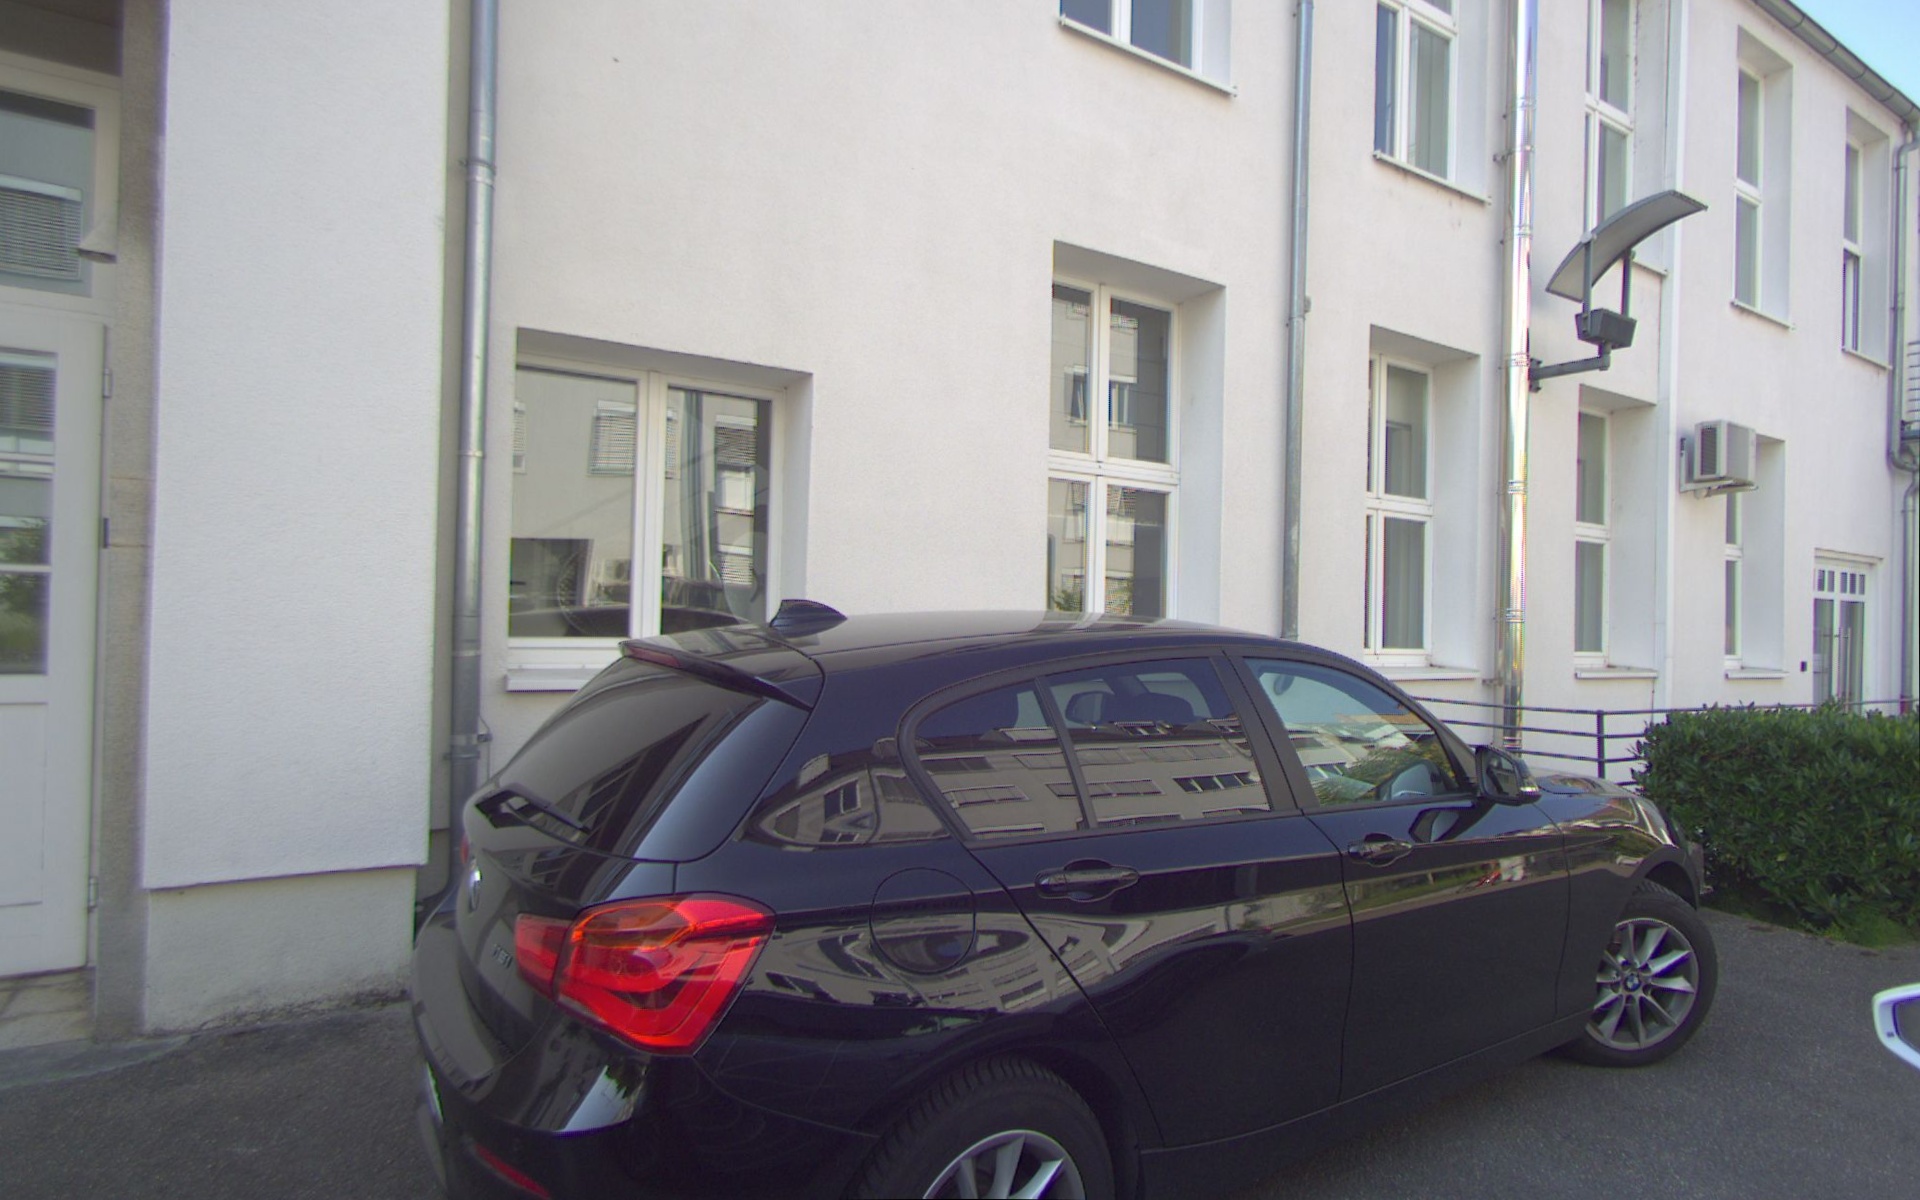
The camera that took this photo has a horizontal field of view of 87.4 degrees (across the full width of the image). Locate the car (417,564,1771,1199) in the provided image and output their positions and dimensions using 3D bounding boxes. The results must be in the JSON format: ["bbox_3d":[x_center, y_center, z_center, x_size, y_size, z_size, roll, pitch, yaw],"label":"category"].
[{"bbox_3d":[0.694,0.723,3.179,4.093,1.447,1.782,2,0,-34],"label":"car"}]
